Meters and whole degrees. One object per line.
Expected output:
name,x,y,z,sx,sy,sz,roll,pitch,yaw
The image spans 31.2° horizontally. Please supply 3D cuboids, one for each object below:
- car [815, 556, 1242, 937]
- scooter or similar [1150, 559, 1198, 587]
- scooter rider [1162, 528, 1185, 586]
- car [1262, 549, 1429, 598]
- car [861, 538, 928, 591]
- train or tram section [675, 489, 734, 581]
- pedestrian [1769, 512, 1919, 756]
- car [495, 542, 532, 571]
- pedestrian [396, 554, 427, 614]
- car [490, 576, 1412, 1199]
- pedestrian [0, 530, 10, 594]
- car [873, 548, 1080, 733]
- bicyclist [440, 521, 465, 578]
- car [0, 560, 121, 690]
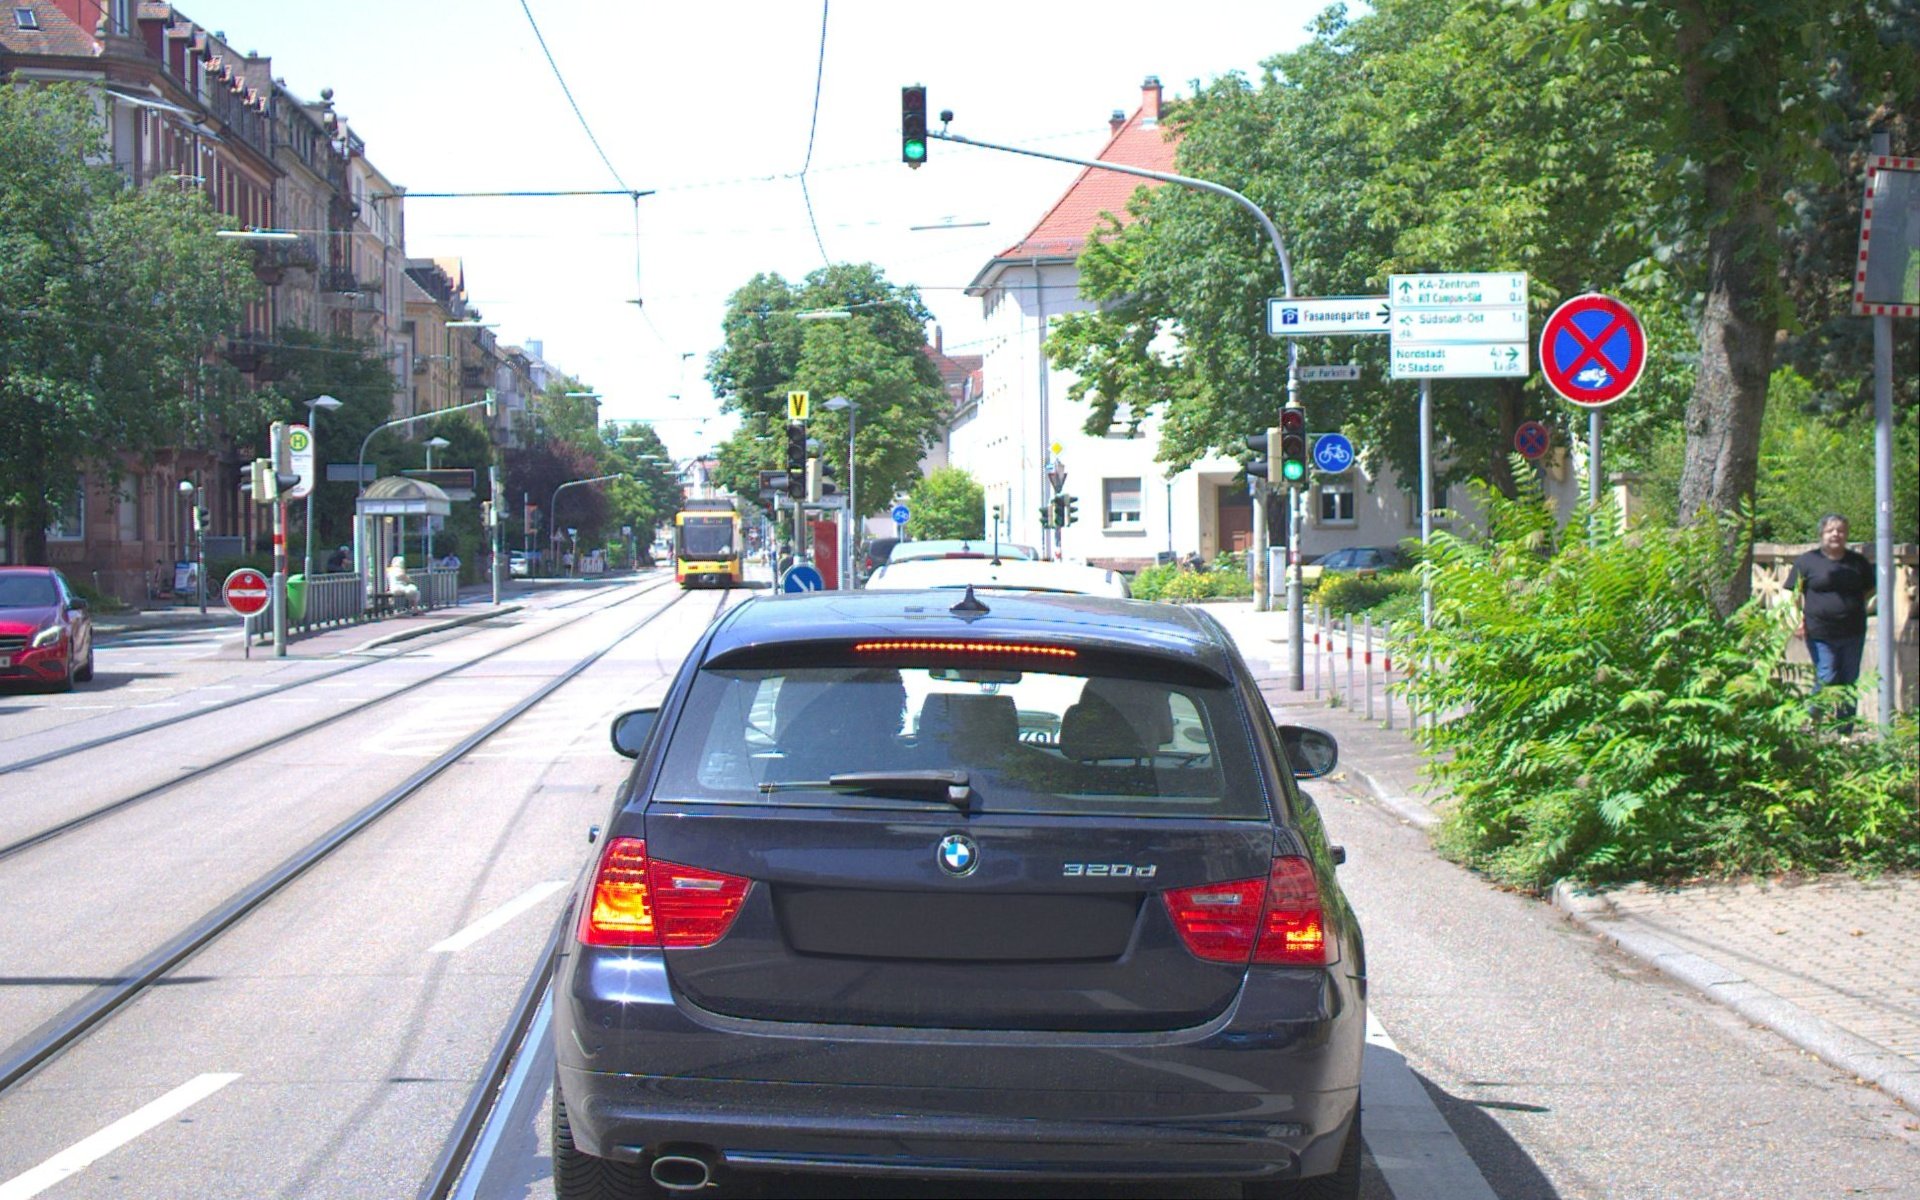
car,0.232,0.560,15.531,1.685,1.479,3.685,-1,1,-1
scooter or similar,6.320,-0.798,101.513,1.311,0.834,0.527,-1,1,-8
scooter rider,6.305,-1.272,101.513,0.590,1.681,0.528,-1,1,-8
car,10.009,-0.688,89.370,3.994,1.239,1.620,0,1,32
car,-2.351,-1.267,122.890,1.993,1.842,4.001,-1,1,-7
train or tram section,-10.093,-2.576,136.372,2.190,3.470,8.846,-1,1,-4
pedestrian,6.066,0.226,23.611,0.857,1.640,0.836,-1,1,5
car,-25.525,-2.488,196.364,1.787,1.580,4.001,1,0,-12
pedestrian,-11.539,-0.337,72.318,0.613,1.238,0.628,-1,1,-9
car,0.047,0.691,8.825,1.722,1.404,4.565,2,1,2
pedestrian,-27.301,-1.066,96.946,0.738,1.805,0.641,-1,1,-41
car,0.139,0.303,30.209,1.691,1.508,3.821,1,1,0
bicyclist,-16.522,-1.643,111.940,0.722,1.864,0.825,-1,1,-5
car,-11.087,0.273,40.624,1.822,1.408,4.430,-2,1,-8
